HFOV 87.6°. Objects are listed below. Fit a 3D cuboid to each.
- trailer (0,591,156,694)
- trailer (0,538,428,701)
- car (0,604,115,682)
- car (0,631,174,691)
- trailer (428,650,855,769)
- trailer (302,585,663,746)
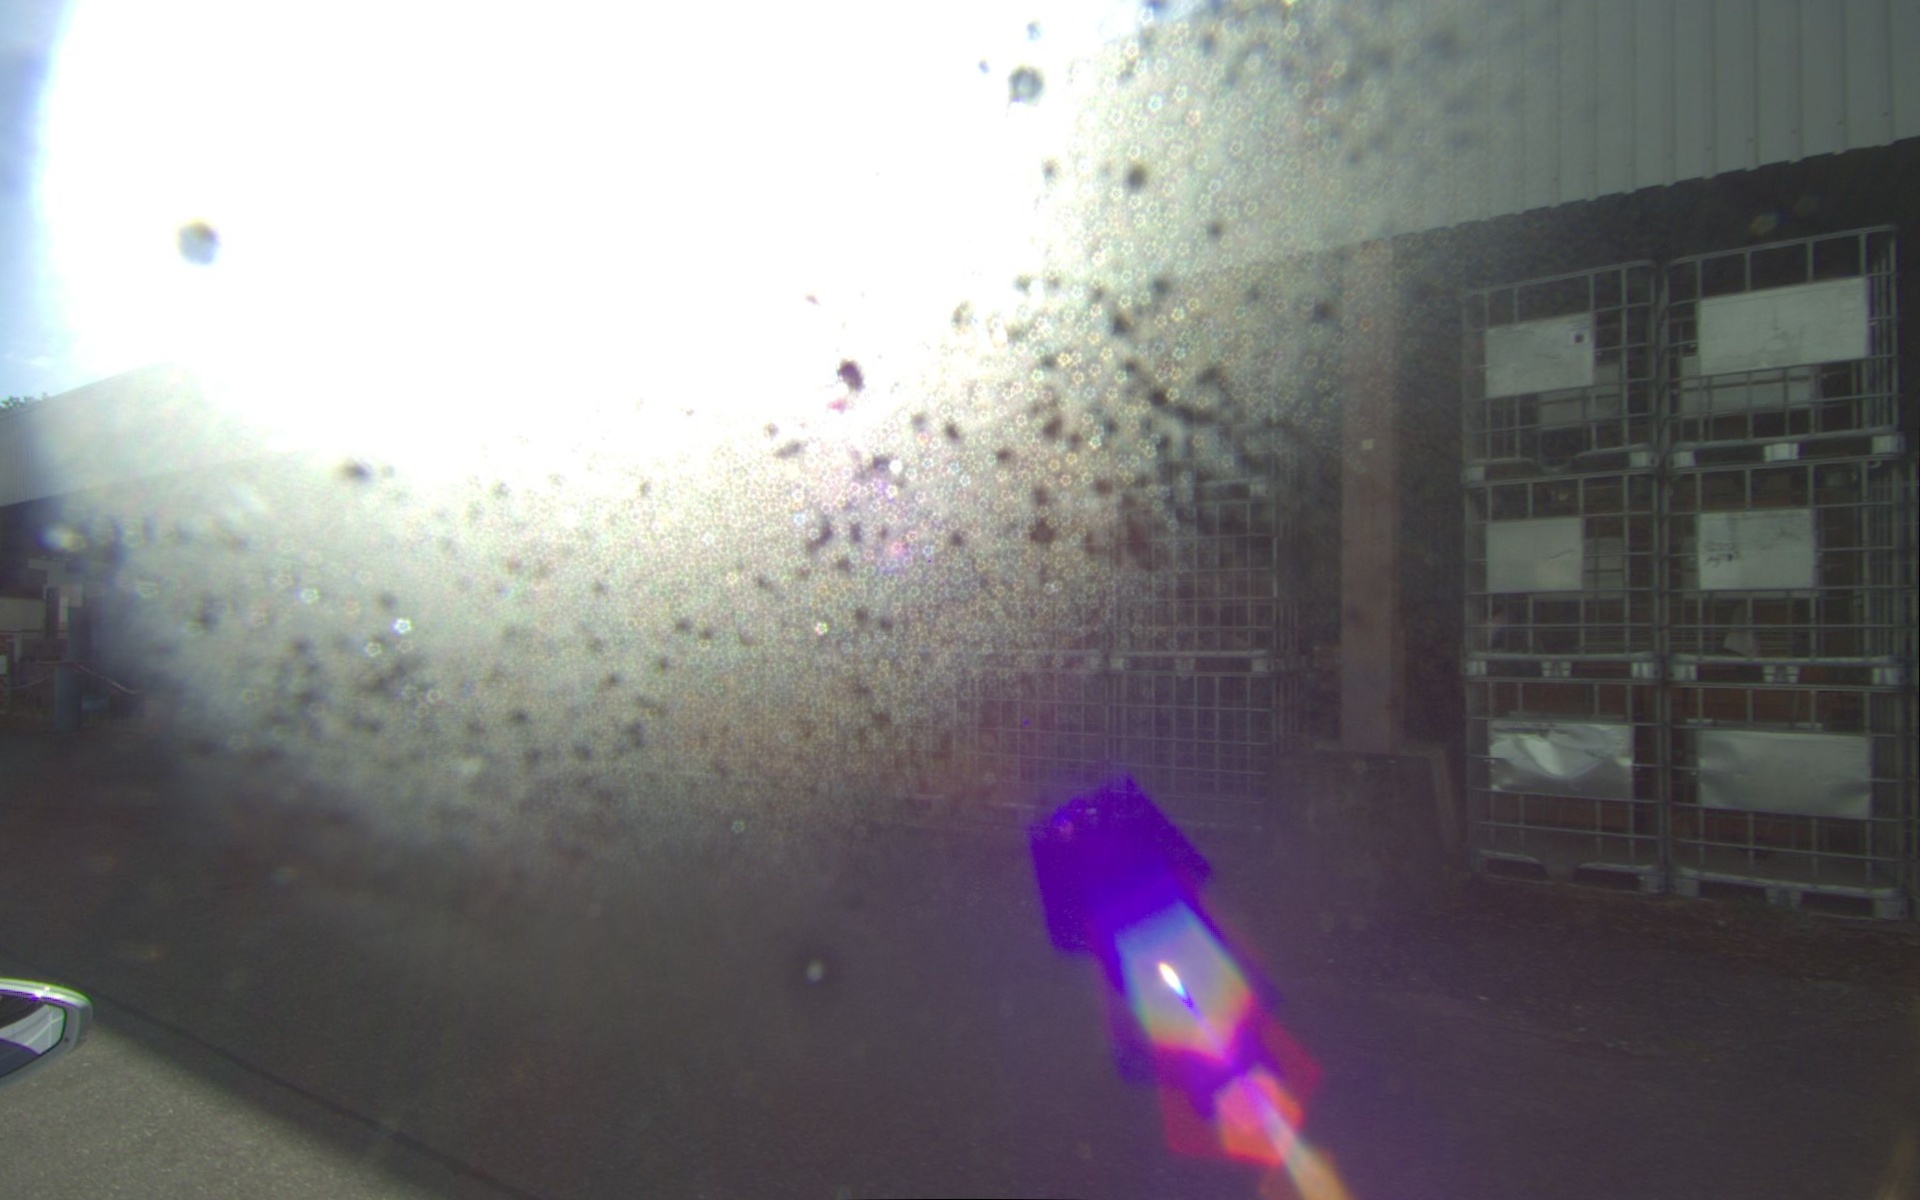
[{"bbox_3d":[-22.484,1.018,24.067,2.018,2.371,4.509,-1,-2,32],"label":"trailer"},{"bbox_3d":[-19.060,0.562,24.980,2.761,3.385,10.253,-1,-2,32],"label":"trailer"},{"bbox_3d":[-29.042,1.290,29.971,2.121,2.309,5.328,-1,-3,30],"label":"car"},{"bbox_3d":[-23.866,1.590,26.645,1.841,1.490,4.247,0,-3,28],"label":"car"},{"bbox_3d":[-3.888,1.301,13.551,1.945,1.200,5.723,-1,-3,30],"label":"trailer"},{"bbox_3d":[-6.893,0.915,14.944,2.133,2.015,4.415,-1,-2,33],"label":"trailer"}]
